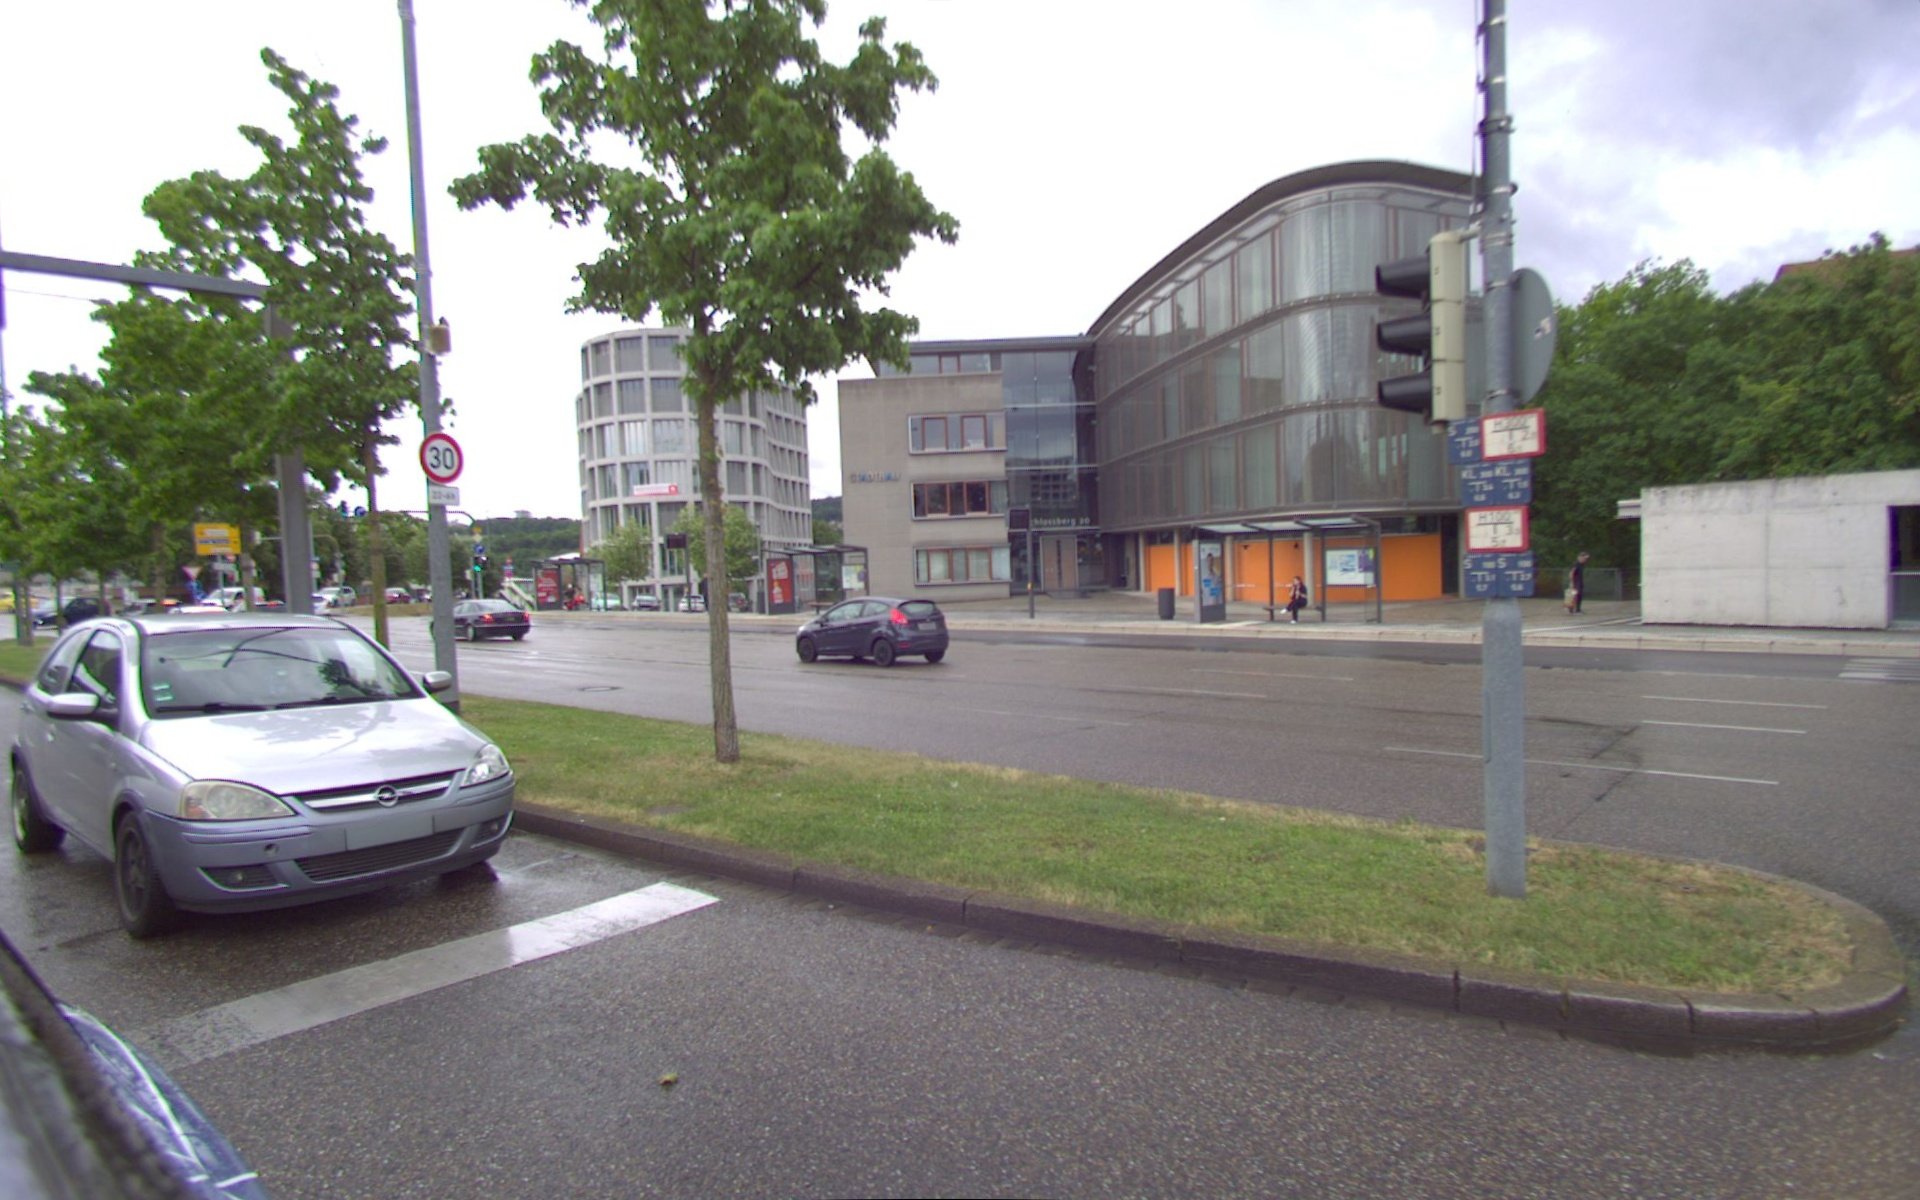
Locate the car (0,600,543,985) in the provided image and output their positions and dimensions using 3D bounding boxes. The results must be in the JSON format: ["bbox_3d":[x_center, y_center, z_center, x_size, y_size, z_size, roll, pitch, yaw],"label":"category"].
[{"bbox_3d":[-4.131,0.749,5.761,3.716,1.476,1.678,0,1,39],"label":"car"}]

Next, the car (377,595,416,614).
[{"bbox_3d":[-51.169,0.416,91.997,1.846,1.646,4.167,-1,1,-10],"label":"car"}]

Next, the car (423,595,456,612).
[{"bbox_3d":[-54.440,0.374,105.942,1.864,1.726,4.227,-1,0,-10],"label":"car"}]

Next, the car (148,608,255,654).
[{"bbox_3d":[-25.308,0.992,33.733,4.162,1.363,1.985,0,1,40],"label":"car"}]

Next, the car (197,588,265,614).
[{"bbox_3d":[-49.016,0.038,68.169,1.848,1.646,4.162,0,0,-5],"label":"car"}]

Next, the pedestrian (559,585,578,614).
[{"bbox_3d":[-20.644,-0.034,53.387,0.722,1.501,0.735,-1,0,-42],"label":"pedestrian"}]

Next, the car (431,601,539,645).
[{"bbox_3d":[-16.504,0.759,35.109,3.997,1.433,1.936,0,1,40],"label":"car"}]

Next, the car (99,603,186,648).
[{"bbox_3d":[-31.001,0.933,38.355,4.164,1.566,1.983,0,1,43],"label":"car"}]

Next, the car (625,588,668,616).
[{"bbox_3d":[-20.292,0.108,65.715,1.848,1.714,4.162,0,0,-5],"label":"car"}]

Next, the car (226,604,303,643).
[{"bbox_3d":[-28.592,0.927,41.548,4.452,1.476,1.676,0,1,43],"label":"car"}]

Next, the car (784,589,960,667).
[{"bbox_3d":[-1.977,0.544,21.942,3.864,1.523,1.658,0,1,43],"label":"car"}]

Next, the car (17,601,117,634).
[{"bbox_3d":[-47.099,0.882,53.490,1.849,1.646,4.161,0,0,-4],"label":"car"}]

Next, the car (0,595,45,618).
[{"bbox_3d":[-69.325,0.490,73.944,4.123,1.646,1.866,-1,1,18],"label":"car"}]

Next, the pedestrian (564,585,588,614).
[{"bbox_3d":[-19.975,-0.033,52.650,0.969,1.501,0.735,-1,0,-40],"label":"pedestrian"}]

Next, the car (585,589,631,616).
[{"bbox_3d":[-22.767,0.129,65.602,1.848,1.714,4.162,0,0,-5],"label":"car"}]

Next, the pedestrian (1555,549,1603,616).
[{"bbox_3d":[16.787,-0.474,27.458,0.772,1.769,0.828,-1,0,-30],"label":"pedestrian"}]

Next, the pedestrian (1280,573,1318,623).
[{"bbox_3d":[8.977,-0.049,26.808,0.659,1.309,0.720,-1,0,-45],"label":"pedestrian"}]

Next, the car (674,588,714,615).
[{"bbox_3d":[-17.291,0.068,65.986,1.848,1.714,4.162,-1,1,-5],"label":"car"}]

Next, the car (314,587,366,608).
[{"bbox_3d":[-50.232,-0.216,82.071,1.849,1.646,4.289,0,0,-4],"label":"car"}]

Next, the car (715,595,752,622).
[{"bbox_3d":[-14.825,0.510,66.504,1.848,1.714,4.162,0,0,-5],"label":"car"}]

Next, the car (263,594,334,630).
[{"bbox_3d":[-32.312,0.558,49.409,4.208,1.630,1.934,0,1,42],"label":"car"}]
